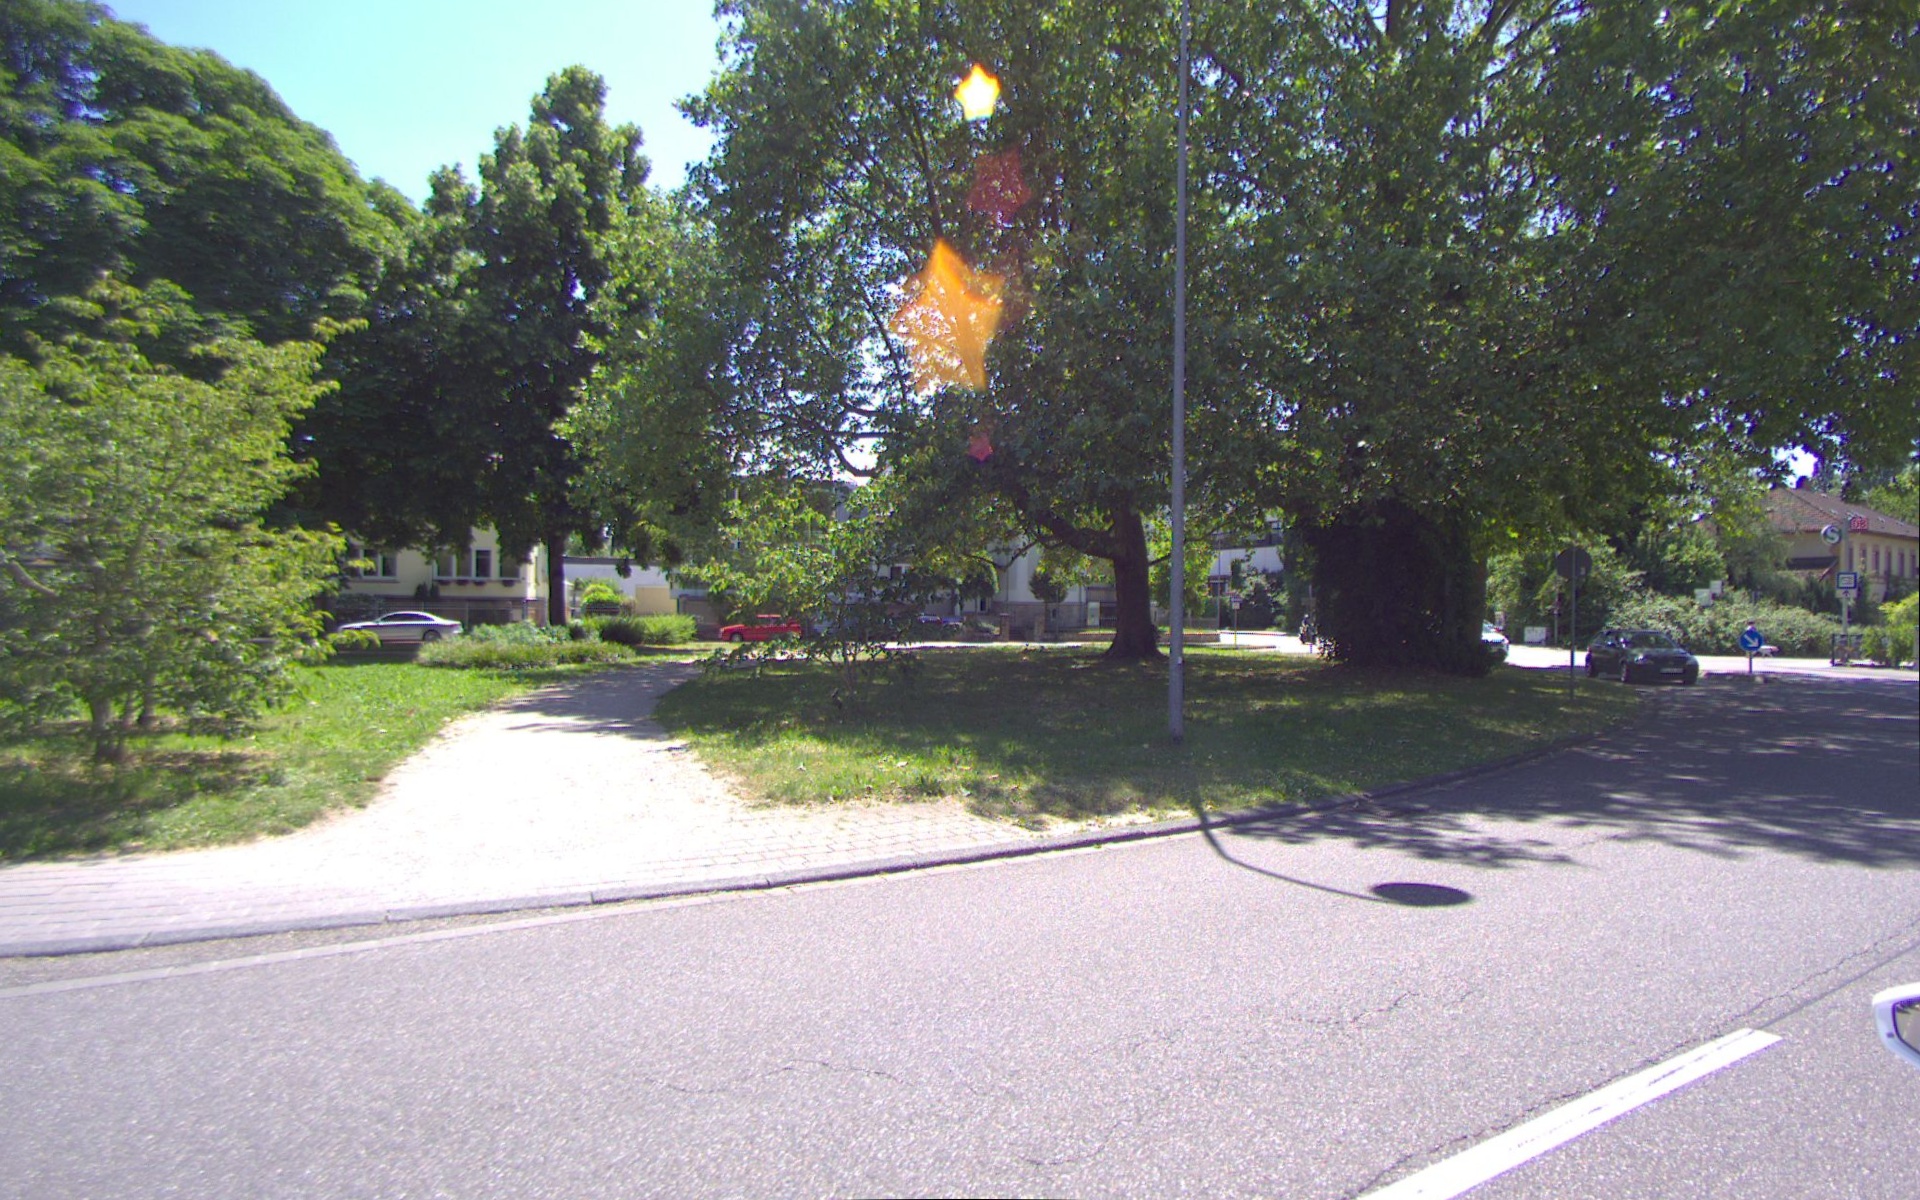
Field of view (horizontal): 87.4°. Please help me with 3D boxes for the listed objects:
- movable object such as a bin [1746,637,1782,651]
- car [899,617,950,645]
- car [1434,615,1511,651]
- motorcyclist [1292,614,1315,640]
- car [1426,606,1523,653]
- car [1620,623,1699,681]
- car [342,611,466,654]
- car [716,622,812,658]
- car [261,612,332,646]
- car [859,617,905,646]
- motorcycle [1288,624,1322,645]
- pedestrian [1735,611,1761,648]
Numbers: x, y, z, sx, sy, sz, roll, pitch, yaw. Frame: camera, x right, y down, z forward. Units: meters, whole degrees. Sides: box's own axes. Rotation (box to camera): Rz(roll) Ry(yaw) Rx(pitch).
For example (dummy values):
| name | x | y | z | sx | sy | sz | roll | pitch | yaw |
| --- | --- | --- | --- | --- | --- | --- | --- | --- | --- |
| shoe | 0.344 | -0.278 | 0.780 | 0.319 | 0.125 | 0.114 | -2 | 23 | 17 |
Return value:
| name | x | y | z | sx | sy | sz | roll | pitch | yaw |
| --- | --- | --- | --- | --- | --- | --- | --- | --- | --- |
| movable object such as a bin | 36.145 | 1.971 | 45.145 | 1.218 | 0.602 | 0.517 | 0 | 0 | -1 |
| car | -2.048 | 1.736 | 56.577 | 1.967 | 1.445 | 3.988 | 2 | -1 | -15 |
| car | 27.316 | 1.768 | 53.679 | 1.904 | 1.635 | 4.474 | 6 | -2 | 3 |
| motorcyclist | 20.842 | 1.646 | 60.906 | 0.799 | 1.576 | 1.098 | 1 | -1 | -25 |
| car | 21.151 | 1.207 | 41.473 | 2.008 | 1.770 | 4.326 | -1 | -1 | 4 |
| car | 19.114 | 1.377 | 27.570 | 1.618 | 1.436 | 3.989 | -2 | -2 | 33 |
| car | -24.249 | 1.393 | 44.010 | 4.435 | 1.802 | 1.992 | 1 | -1 | -18 |
| car | -9.481 | 1.907 | 48.442 | 4.432 | 1.640 | 1.994 | 1 | -1 | -16 |
| car | -33.221 | 1.444 | 50.396 | 1.969 | 1.606 | 3.984 | 1 | -1 | -18 |
| car | -4.293 | 1.719 | 54.777 | 1.849 | 1.453 | 3.990 | 2 | -1 | -13 |
| motorcycle | 20.883 | 2.091 | 60.814 | 0.799 | 1.248 | 2.038 | 1 | -1 | -25 |
| pedestrian | 36.055 | 1.330 | 45.947 | 0.605 | 1.649 | 0.700 | 0 | 1 | 3 |
